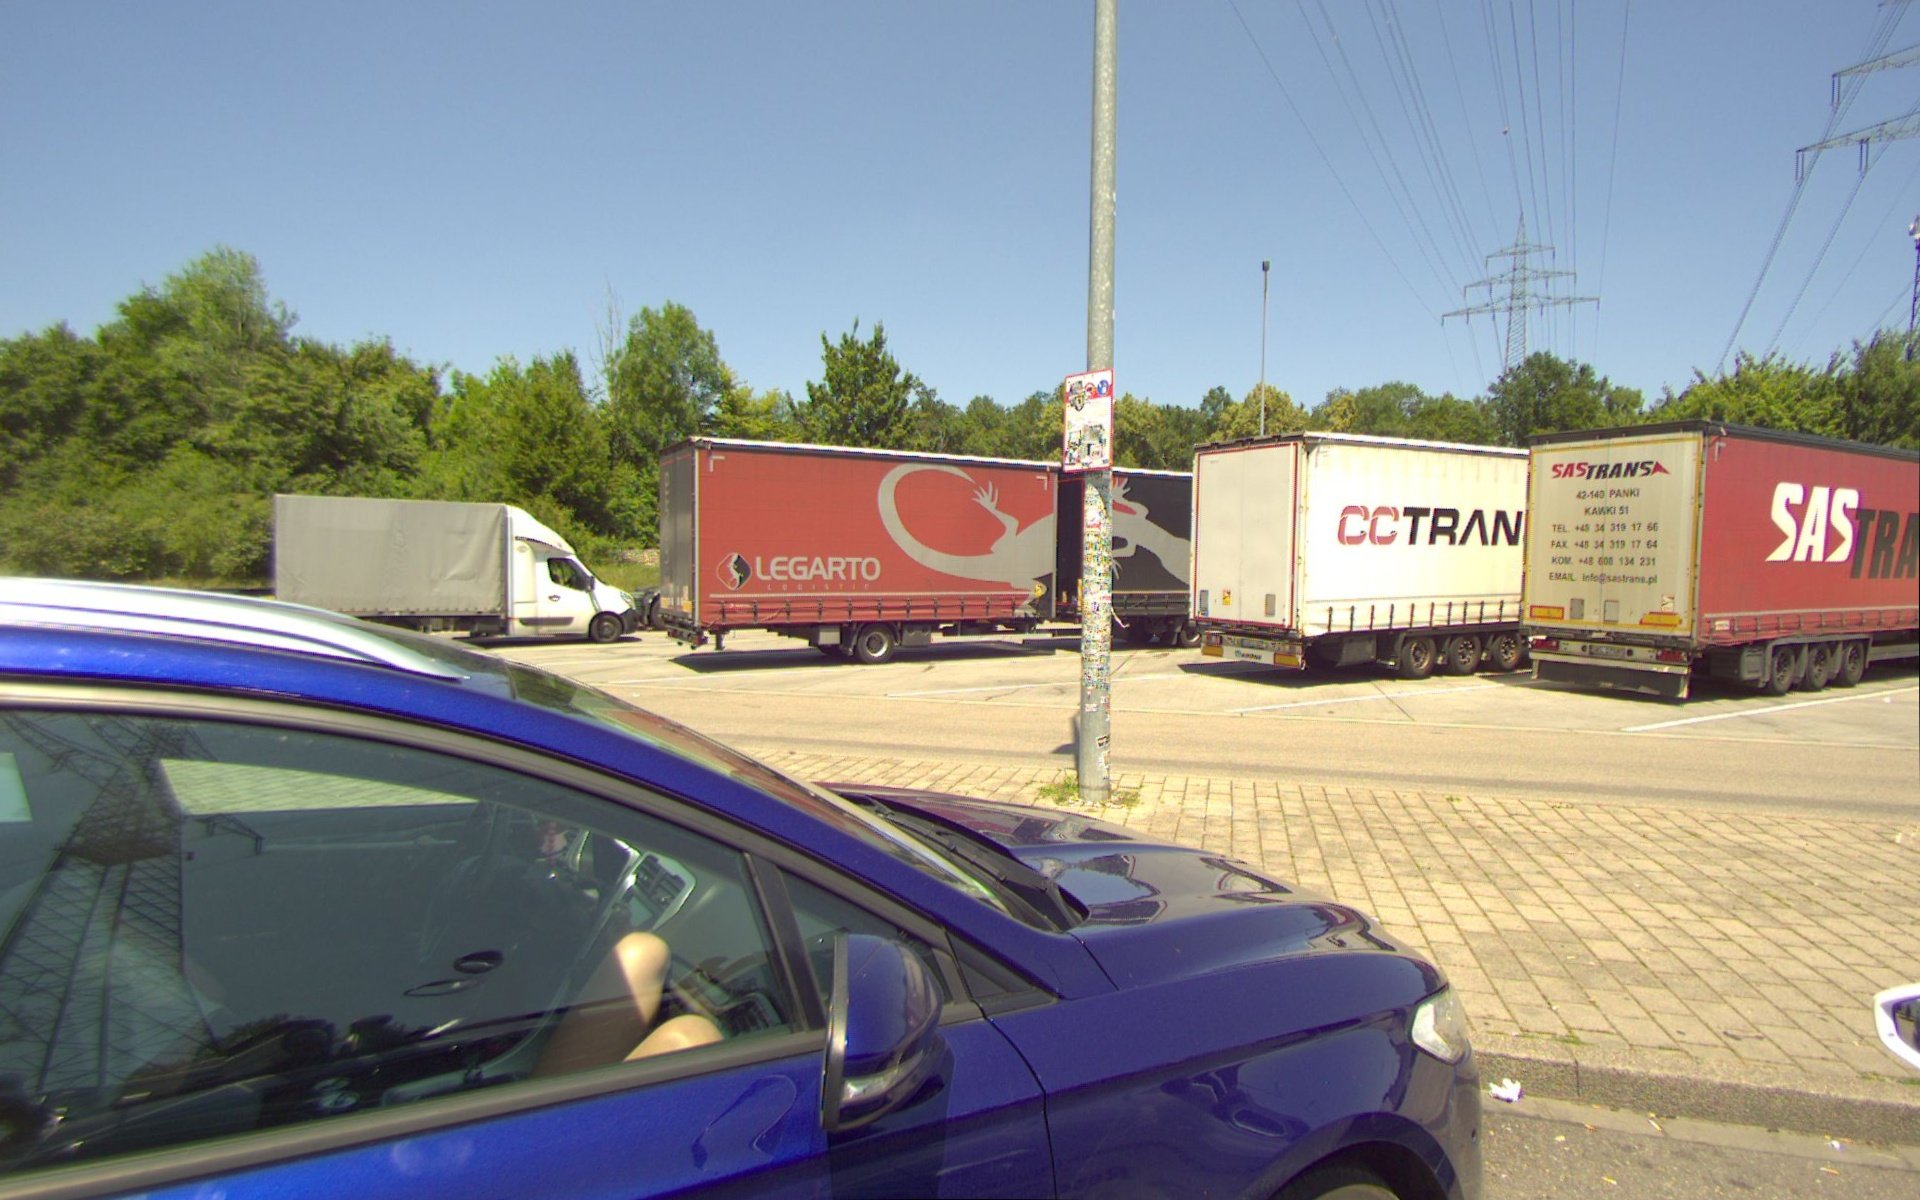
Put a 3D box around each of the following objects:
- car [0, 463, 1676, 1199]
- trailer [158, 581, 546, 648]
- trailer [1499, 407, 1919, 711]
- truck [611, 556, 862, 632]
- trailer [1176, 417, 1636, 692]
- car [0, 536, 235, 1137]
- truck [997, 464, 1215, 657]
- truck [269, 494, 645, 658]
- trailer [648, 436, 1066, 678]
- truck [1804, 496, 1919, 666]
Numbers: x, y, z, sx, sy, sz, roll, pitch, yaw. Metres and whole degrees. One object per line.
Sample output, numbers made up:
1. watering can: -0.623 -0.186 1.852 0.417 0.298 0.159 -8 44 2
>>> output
1. car: -0.962 0.656 1.479 4.592 1.502 1.727 0 0 -33
2. trailer: -14.814 0.262 25.195 7.996 1.394 2.211 -1 3 -30
3. trailer: 15.423 -0.703 18.572 13.559 4.189 2.892 -1 3 -30
4. truck: -6.465 -0.162 29.535 6.961 2.040 1.984 0 0 -30
5. trailer: 8.883 -0.820 19.337 10.049 4.267 2.714 -1 3 -30
6. car: -4.535 0.584 2.264 4.592 1.554 1.726 0 1 -33
7. truck: 3.373 -0.904 23.370 4.273 4.072 2.689 -1 3 -30
8. truck: -11.185 -0.571 22.912 7.254 3.254 2.515 -1 3 -30
9. trailer: -1.909 -0.829 20.276 7.996 4.101 2.696 -1 3 -30
10. truck: 21.744 -0.433 22.317 5.418 3.475 2.838 -1 3 -30
